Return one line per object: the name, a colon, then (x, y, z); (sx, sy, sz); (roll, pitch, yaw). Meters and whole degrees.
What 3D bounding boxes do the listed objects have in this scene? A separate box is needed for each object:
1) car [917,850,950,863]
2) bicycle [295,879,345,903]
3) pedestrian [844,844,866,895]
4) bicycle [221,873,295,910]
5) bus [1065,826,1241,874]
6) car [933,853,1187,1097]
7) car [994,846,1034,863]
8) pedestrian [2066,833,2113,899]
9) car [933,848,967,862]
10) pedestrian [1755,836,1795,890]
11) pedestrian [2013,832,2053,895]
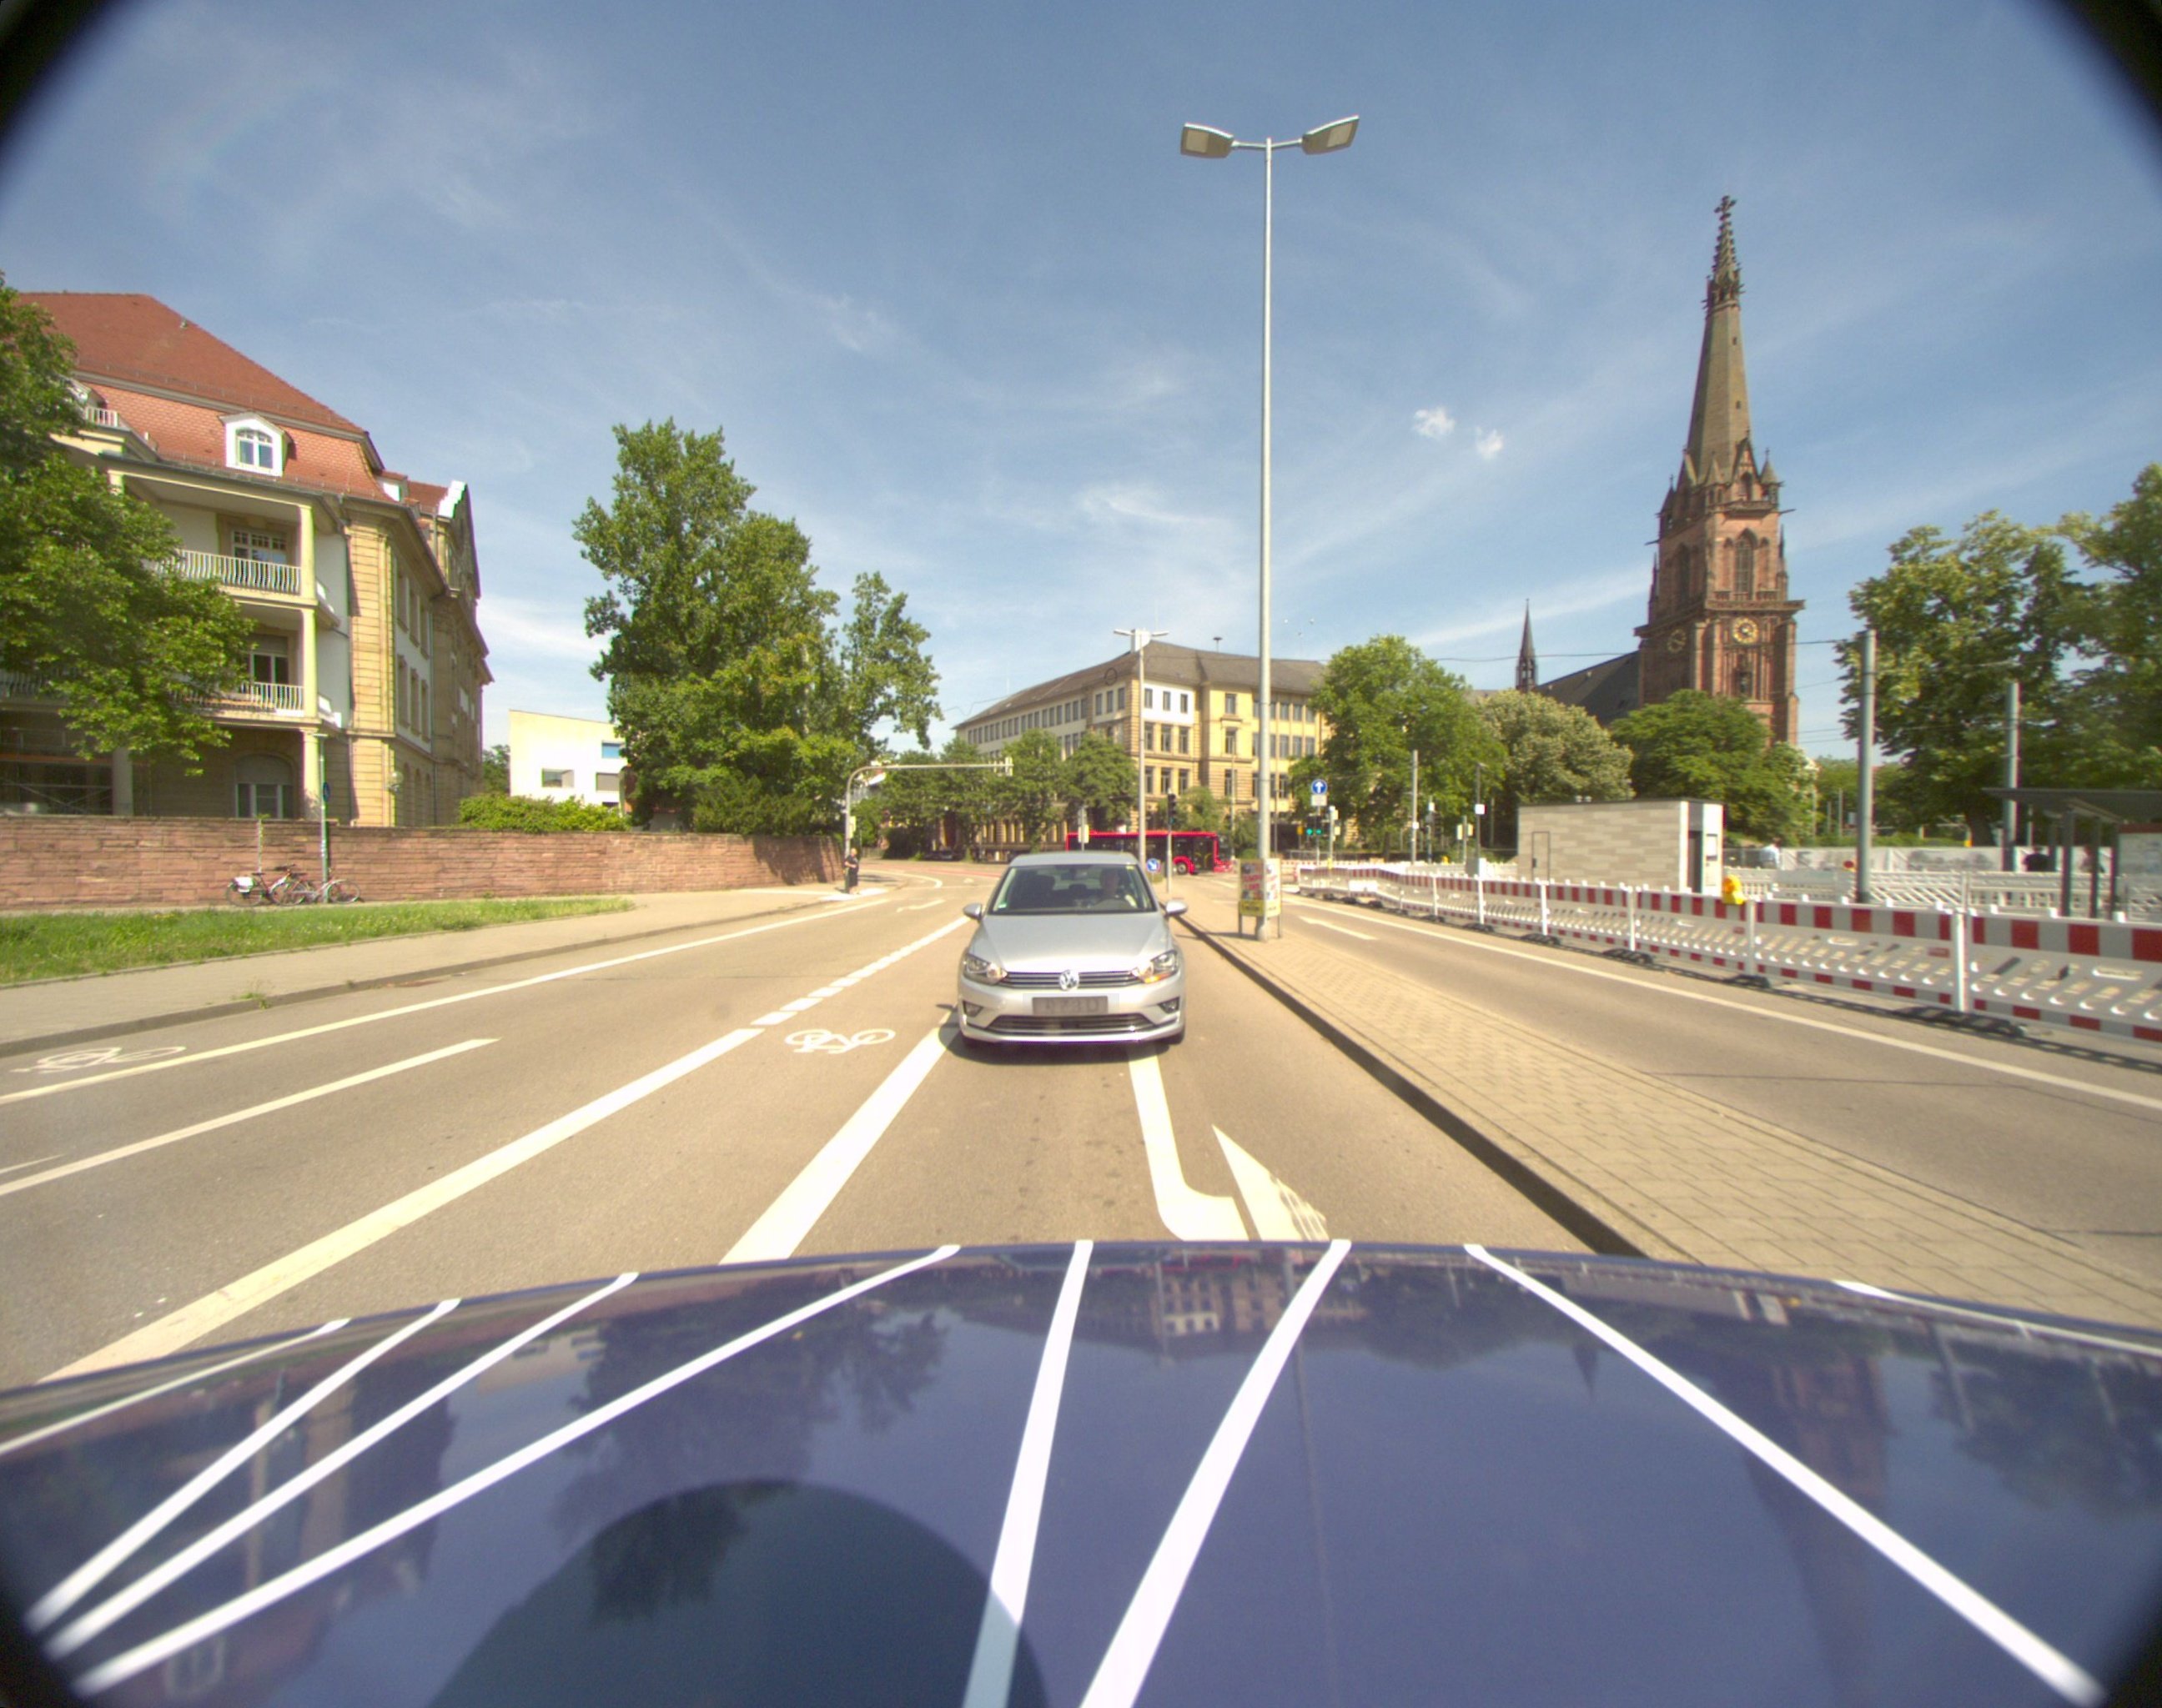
car: (-20.482, 0.332, 105.410); (4.006, 1.653, 1.994); (-3, 4, -34)
bicycle: (-20.753, 1.005, 20.727); (0.274, 0.598, 0.950); (1, 1, 39)
pedestrian: (-9.036, 0.599, 30.377); (0.796, 2.002, 0.615); (0, 1, -14)
bicycle: (-21.343, 0.964, 19.732); (0.393, 0.878, 1.230); (1, 1, 20)
bus: (4.960, -0.229, 54.418); (12.379, 3.076, 3.139); (-1, 1, 32)
car: (-0.045, 0.804, 7.160); (1.687, 1.577, 4.152); (1, 1, 3)
car: (-7.473, 0.015, 85.249); (4.006, 1.653, 1.994); (-3, 4, -34)
pedestrian: (31.368, 0.354, 23.636); (0.688, 2.002, 0.818); (0, 1, -35)
car: (-17.526, 0.109, 101.599); (4.006, 1.653, 1.994); (-3, 4, -35)
pedestrian: (26.015, 0.339, 28.481); (0.820, 2.002, 0.686); (1, 1, 3)
pedestrian: (30.853, 0.313, 24.634); (0.822, 2.002, 0.684); (0, 1, -33)
